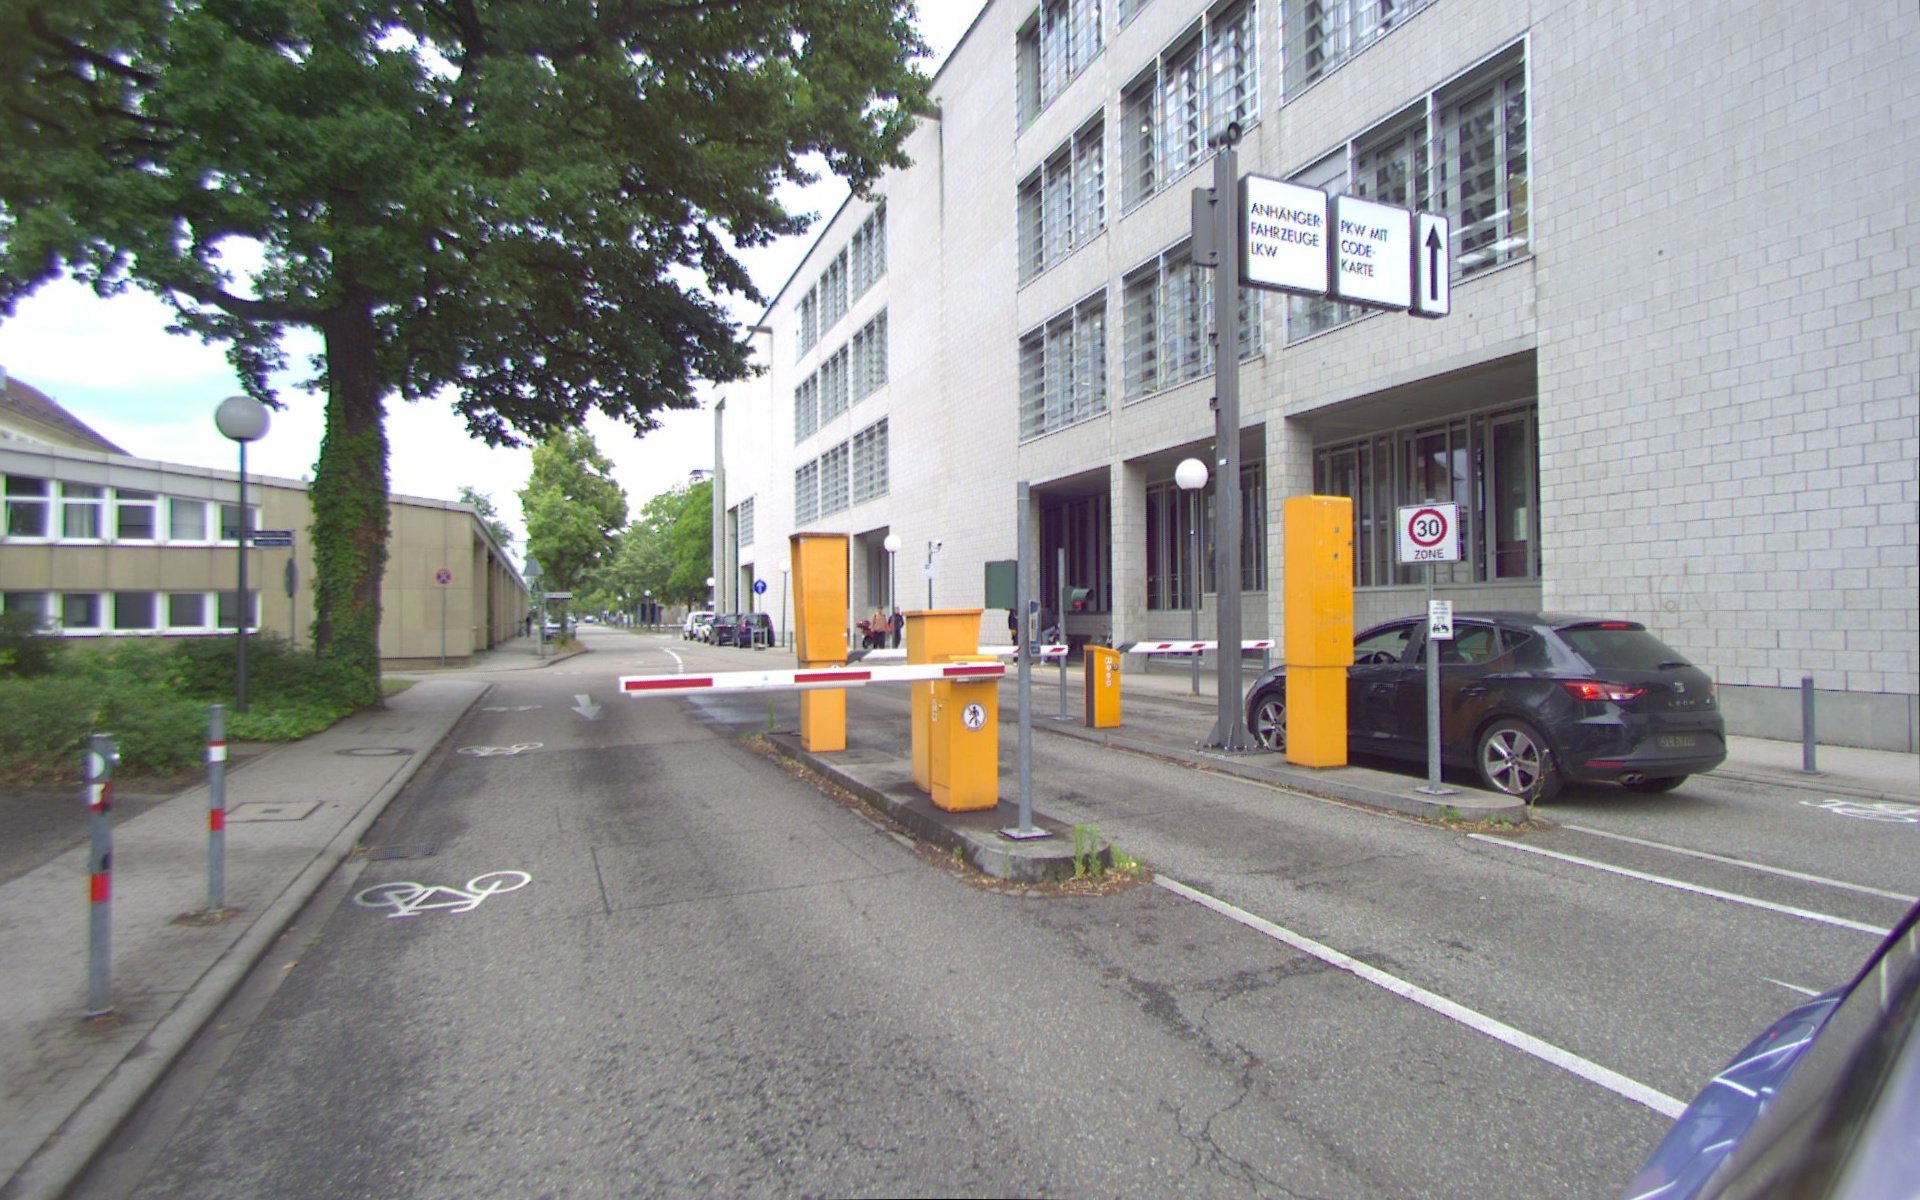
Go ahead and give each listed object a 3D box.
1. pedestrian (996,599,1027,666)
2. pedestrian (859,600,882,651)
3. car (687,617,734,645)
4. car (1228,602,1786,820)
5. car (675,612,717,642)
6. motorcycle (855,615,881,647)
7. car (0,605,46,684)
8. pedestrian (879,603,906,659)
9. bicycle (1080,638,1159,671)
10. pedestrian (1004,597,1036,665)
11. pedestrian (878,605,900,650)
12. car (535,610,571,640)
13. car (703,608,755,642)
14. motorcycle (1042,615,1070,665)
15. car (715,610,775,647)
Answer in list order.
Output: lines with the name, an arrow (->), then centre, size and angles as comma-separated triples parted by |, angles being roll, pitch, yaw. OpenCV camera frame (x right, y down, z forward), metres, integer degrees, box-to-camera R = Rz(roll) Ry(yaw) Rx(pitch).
pedestrian -> 1.350, 0.843, 26.509 | 0.600, 1.736, 0.575 | -1, -1, -23
pedestrian -> -3.084, 0.879, 34.917 | 0.684, 1.736, 0.490 | 1, -1, -18
car -> -14.598, 1.780, 59.091 | 1.958, 1.482, 4.435 | -2, 0, -23
car -> 4.385, 0.755, 8.915 | 1.751, 1.437, 4.136 | 1, -1, -23
car -> -16.836, 1.685, 64.462 | 1.958, 1.804, 4.435 | -2, 0, -23
motorcycle -> -3.792, 1.264, 42.026 | 0.747, 1.162, 2.662 | 2, 1, 2
car -> -19.778, 0.871, 19.602 | 1.830, 1.549, 4.007 | 1, -1, -23
pedestrian -> -2.129, 0.972, 31.906 | 0.684, 1.736, 0.490 | 1, -2, -27
bicycle -> 3.747, 1.270, 23.713 | 1.863, 0.707, 0.494 | 1, 1, -26
pedestrian -> 1.555, 0.797, 26.354 | 0.576, 1.720, 0.693 | 1, 1, -16
pedestrian -> -2.475, 0.957, 35.364 | 0.632, 1.546, 0.473 | 1, -1, -21
car -> -22.856, 1.382, 56.786 | 1.739, 1.621, 4.007 | 1, -1, -24
car -> -12.166, 1.258, 53.096 | 1.958, 1.643, 4.436 | -2, 0, -22
motorcycle -> 2.518, 1.029, 26.651 | 0.557, 1.162, 2.216 | 2, 1, 2
car -> -10.429, 1.356, 48.901 | 1.958, 1.643, 4.435 | -1, -1, -23
